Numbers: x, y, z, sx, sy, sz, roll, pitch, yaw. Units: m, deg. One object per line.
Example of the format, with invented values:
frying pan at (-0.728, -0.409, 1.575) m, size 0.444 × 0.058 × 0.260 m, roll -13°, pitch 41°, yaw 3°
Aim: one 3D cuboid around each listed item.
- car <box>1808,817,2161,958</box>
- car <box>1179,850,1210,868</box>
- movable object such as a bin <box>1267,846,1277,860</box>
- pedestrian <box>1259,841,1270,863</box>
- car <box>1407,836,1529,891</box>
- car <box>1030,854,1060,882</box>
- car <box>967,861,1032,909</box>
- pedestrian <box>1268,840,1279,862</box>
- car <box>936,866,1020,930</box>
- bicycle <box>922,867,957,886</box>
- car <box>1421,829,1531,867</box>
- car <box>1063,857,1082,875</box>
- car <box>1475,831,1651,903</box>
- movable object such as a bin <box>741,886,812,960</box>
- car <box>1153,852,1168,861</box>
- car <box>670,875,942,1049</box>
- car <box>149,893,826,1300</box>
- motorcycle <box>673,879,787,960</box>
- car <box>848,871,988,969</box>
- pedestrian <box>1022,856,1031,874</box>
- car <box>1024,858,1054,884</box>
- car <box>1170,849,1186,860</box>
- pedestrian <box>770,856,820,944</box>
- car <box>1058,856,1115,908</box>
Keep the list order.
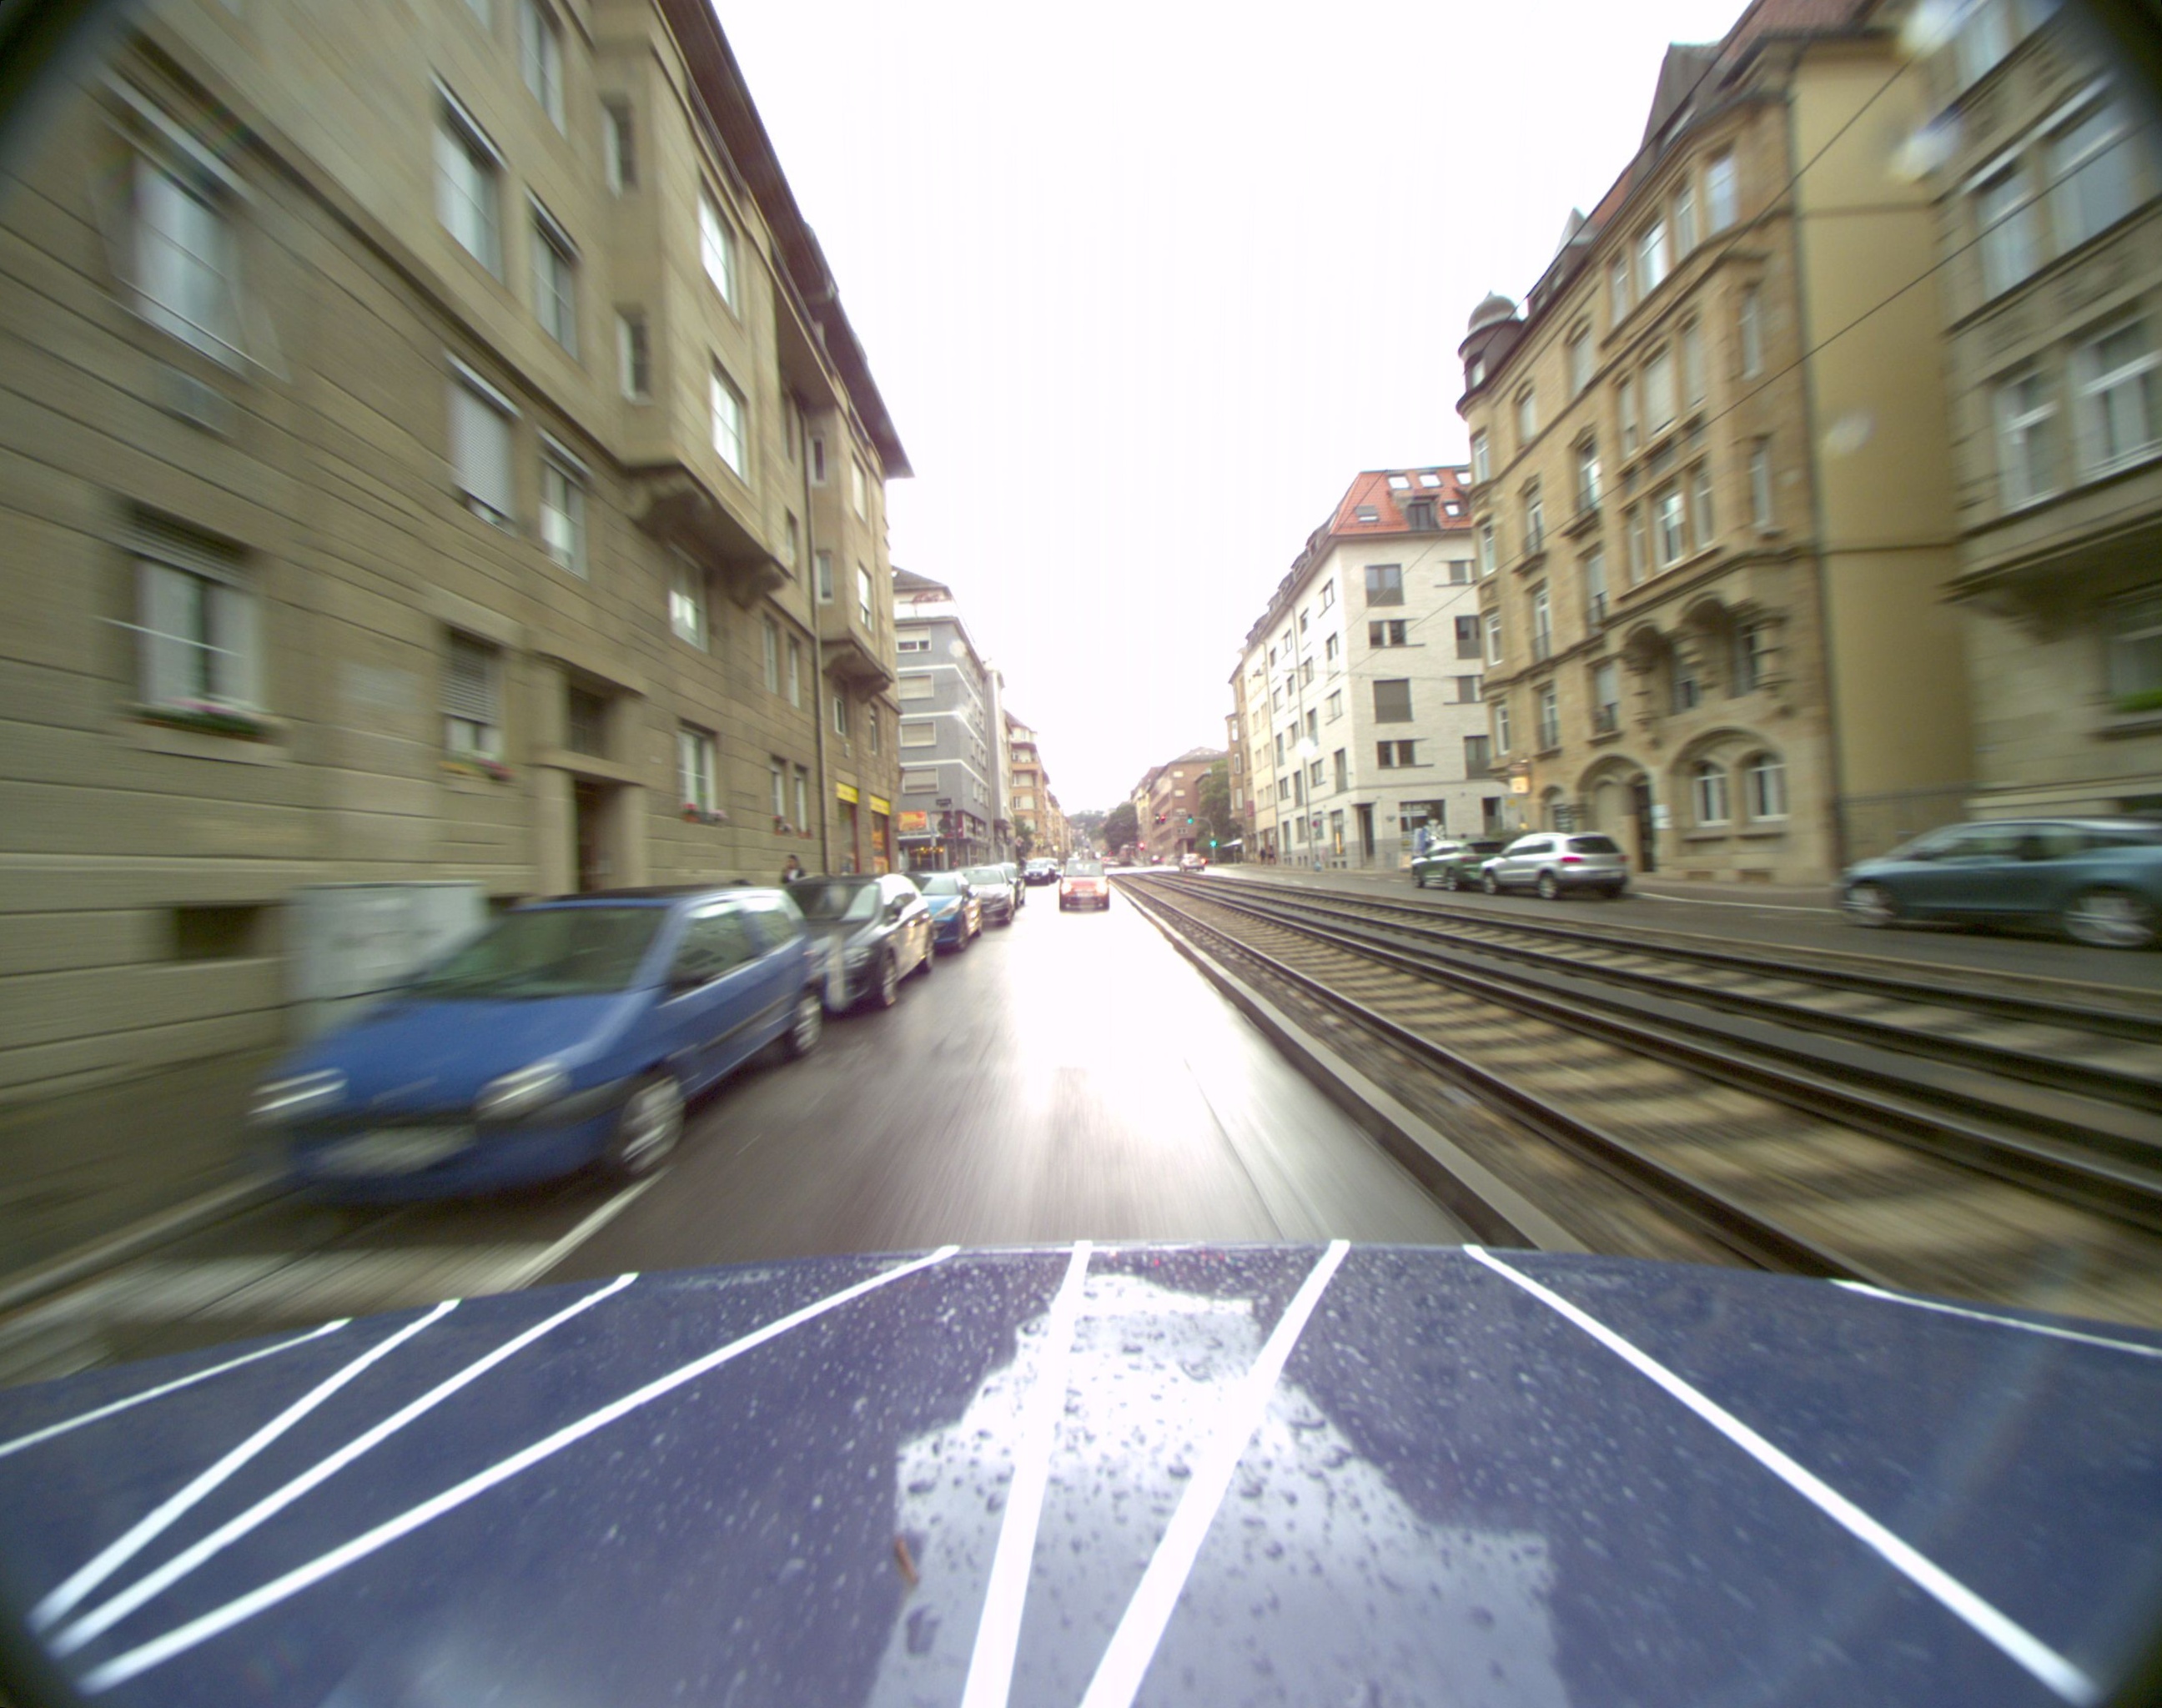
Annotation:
car at (12.450, 0.324, 9.943) m, size 1.875 × 1.499 × 4.169 m, roll -2°, pitch 0°, yaw 0°
car at (9.760, 0.377, 65.498) m, size 1.986 × 1.448 × 4.294 m, roll -2°, pitch 0°, yaw -1°
movable object such as a bin at (16.136, -0.072, 64.162) m, size 0.631 × 1.074 × 0.563 m, roll -7°, pitch 0°, yaw 0°
pedestrian at (14.868, -0.151, 61.479) m, size 0.603 × 1.708 × 0.746 m, roll -5°, pitch 0°, yaw 3°
car at (12.489, 0.286, 24.873) m, size 1.863 × 1.592 × 4.430 m, roll -2°, pitch 0°, yaw 2°
car at (-2.444, 0.900, 52.084) m, size 1.797 × 1.750 × 4.566 m, roll -2°, pitch 0°, yaw 0°
car at (-2.662, 0.973, 25.534) m, size 1.675 × 1.435 × 3.790 m, roll -1°, pitch 0°, yaw 1°
pedestrian at (15.590, -0.221, 61.473) m, size 0.603 × 1.708 × 0.658 m, roll -5°, pitch 0°, yaw 3°
car at (-2.542, 1.035, 19.643) m, size 1.759 × 1.379 × 4.484 m, roll -1°, pitch 0°, yaw -3°
bicycle at (-7.782, 1.250, 41.768) m, size 1.753 × 0.967 × 0.533 m, roll -3°, pitch 1°, yaw 2°
car at (20.764, -0.310, 40.050) m, size 4.704 × 1.718 × 2.034 m, roll -2°, pitch 0°, yaw -3°
car at (-0.964, 1.443, 91.546) m, size 2.135 × 2.002 × 4.328 m, roll -2°, pitch 0°, yaw 1°
car at (12.508, 0.299, 20.119) m, size 1.863 × 1.643 × 4.315 m, roll -2°, pitch 0°, yaw -1°
movable object such as a bin at (-5.062, 1.128, 12.693) m, size 0.667 × 1.096 × 1.124 m, roll -3°, pitch 0°, yaw 0°
car at (12.925, 0.366, 123.398) m, size 2.093 × 1.449 × 4.860 m, roll -1°, pitch 0°, yaw 2°
car at (-2.951, 1.066, 9.179) m, size 1.792 × 1.454 × 4.083 m, roll -2°, pitch 0°, yaw -1°
car at (-2.969, 1.066, 4.797) m, size 1.548 × 1.406 × 3.446 m, roll -2°, pitch 0°, yaw -1°
motorcycle at (-6.218, 1.112, 13.683) m, size 0.707 × 1.192 × 2.746 m, roll -2°, pitch 0°, yaw 1°
car at (-2.827, 1.096, 14.040) m, size 1.711 × 1.390 × 4.018 m, roll -2°, pitch 0°, yaw -1°
pedestrian at (-5.628, 1.106, 78.054) m, size 0.852 × 1.807 × 0.847 m, roll -1°, pitch 1°, yaw 0°
car at (-2.598, 1.008, 46.613) m, size 1.696 × 1.474 × 3.928 m, roll -1°, pitch 0°, yaw -4°
car at (12.742, 0.043, 100.210) m, size 1.708 × 1.379 × 3.781 m, roll -2°, pitch 0°, yaw 2°
pedestrian at (-5.123, 0.808, 13.649) m, size 0.562 × 1.526 × 0.710 m, roll -2°, pitch 1°, yaw 1°
car at (0.169, 0.865, 25.092) m, size 1.683 × 1.531 × 4.018 m, roll -2°, pitch 0°, yaw 0°
